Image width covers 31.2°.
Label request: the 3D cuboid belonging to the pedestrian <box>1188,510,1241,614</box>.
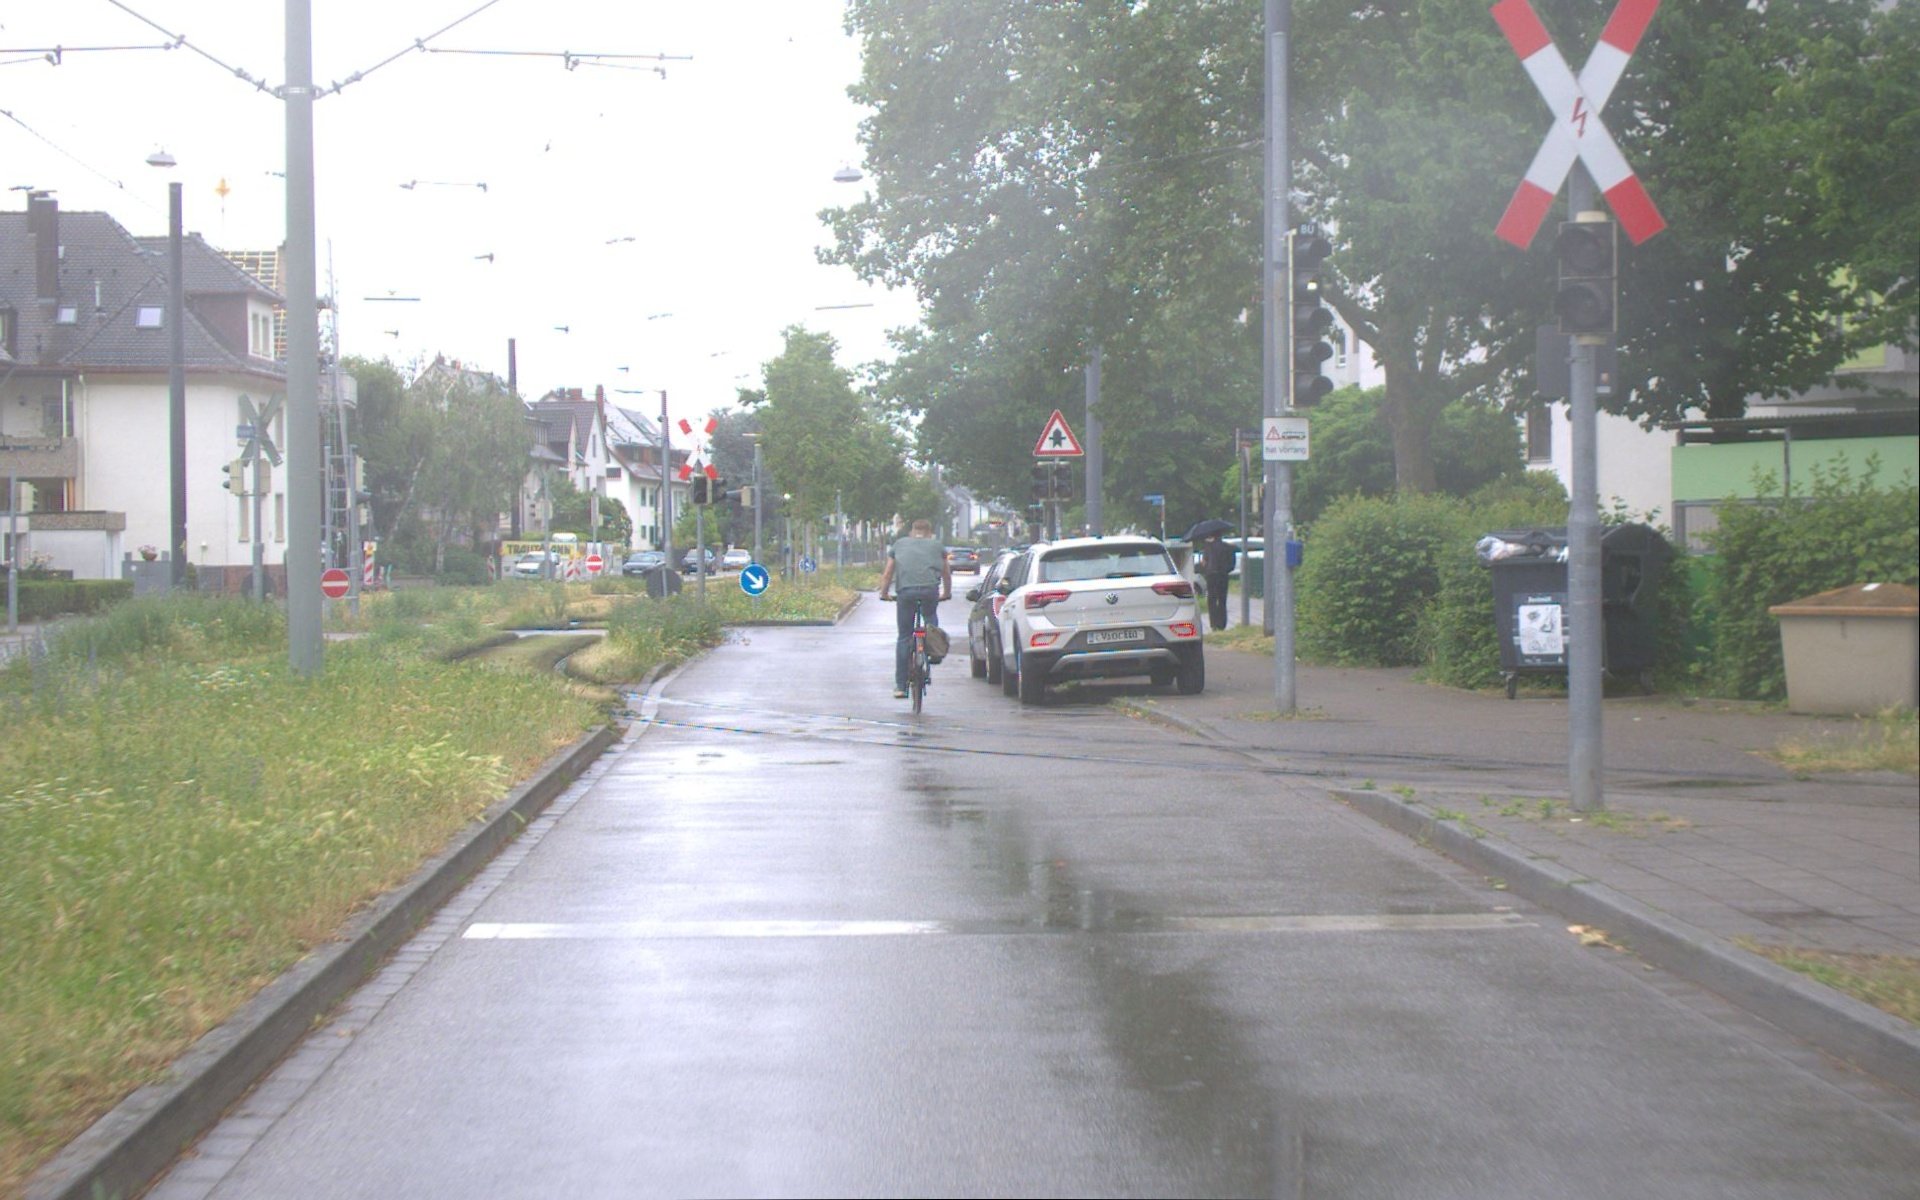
[{"bbox_3d":[4.275,-0.640,57.715,0.747,1.710,0.750,-2,0,-2],"label":"pedestrian"}]

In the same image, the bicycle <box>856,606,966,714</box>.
[{"bbox_3d":[-0.448,0.522,30.674,0.821,0.909,1.986,-1,0,-5],"label":"bicycle"}]

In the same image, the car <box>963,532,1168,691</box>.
[{"bbox_3d":[1.144,0.124,39.203,1.941,1.646,4.000,-2,0,-3],"label":"car"}]

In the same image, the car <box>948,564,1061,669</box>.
[{"bbox_3d":[0.879,0.322,69.892,1.941,2.006,4.000,-2,0,-3],"label":"car"}]

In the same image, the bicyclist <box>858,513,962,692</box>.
[{"bbox_3d":[-0.456,0.020,30.672,0.831,1.553,0.914,-1,0,-5],"label":"bicyclist"}]

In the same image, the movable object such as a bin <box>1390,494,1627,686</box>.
[{"bbox_3d":[5.038,-0.105,31.652,1.549,1.698,1.501,-2,1,-26],"label":"movable object such as a bin"}]

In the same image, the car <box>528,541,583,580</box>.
[{"bbox_3d":[-17.631,-1.705,149.901,1.993,1.539,4.000,-1,-1,-1],"label":"car"}]

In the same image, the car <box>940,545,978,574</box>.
[{"bbox_3d":[-0.059,-2.274,194.662,1.993,1.487,4.000,0,-1,-2],"label":"car"}]

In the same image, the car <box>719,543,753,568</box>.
[{"bbox_3d":[-14.866,-2.934,228.302,1.993,1.539,4.000,-1,-1,-1],"label":"car"}]

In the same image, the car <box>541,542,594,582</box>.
[{"bbox_3d":[-17.676,-1.694,155.043,1.993,1.699,4.000,-1,-1,-1],"label":"car"}]

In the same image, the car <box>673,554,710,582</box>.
[{"bbox_3d":[-16.095,-1.918,206.133,1.993,1.539,4.000,-1,-1,-1],"label":"car"}]

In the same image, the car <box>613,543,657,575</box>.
[{"bbox_3d":[-17.059,-2.124,180.697,1.993,1.539,4.000,-1,-1,-1],"label":"car"}]

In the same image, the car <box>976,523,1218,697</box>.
[{"bbox_3d":[1.288,0.089,33.975,1.954,1.548,4.000,-2,0,-3],"label":"car"}]
